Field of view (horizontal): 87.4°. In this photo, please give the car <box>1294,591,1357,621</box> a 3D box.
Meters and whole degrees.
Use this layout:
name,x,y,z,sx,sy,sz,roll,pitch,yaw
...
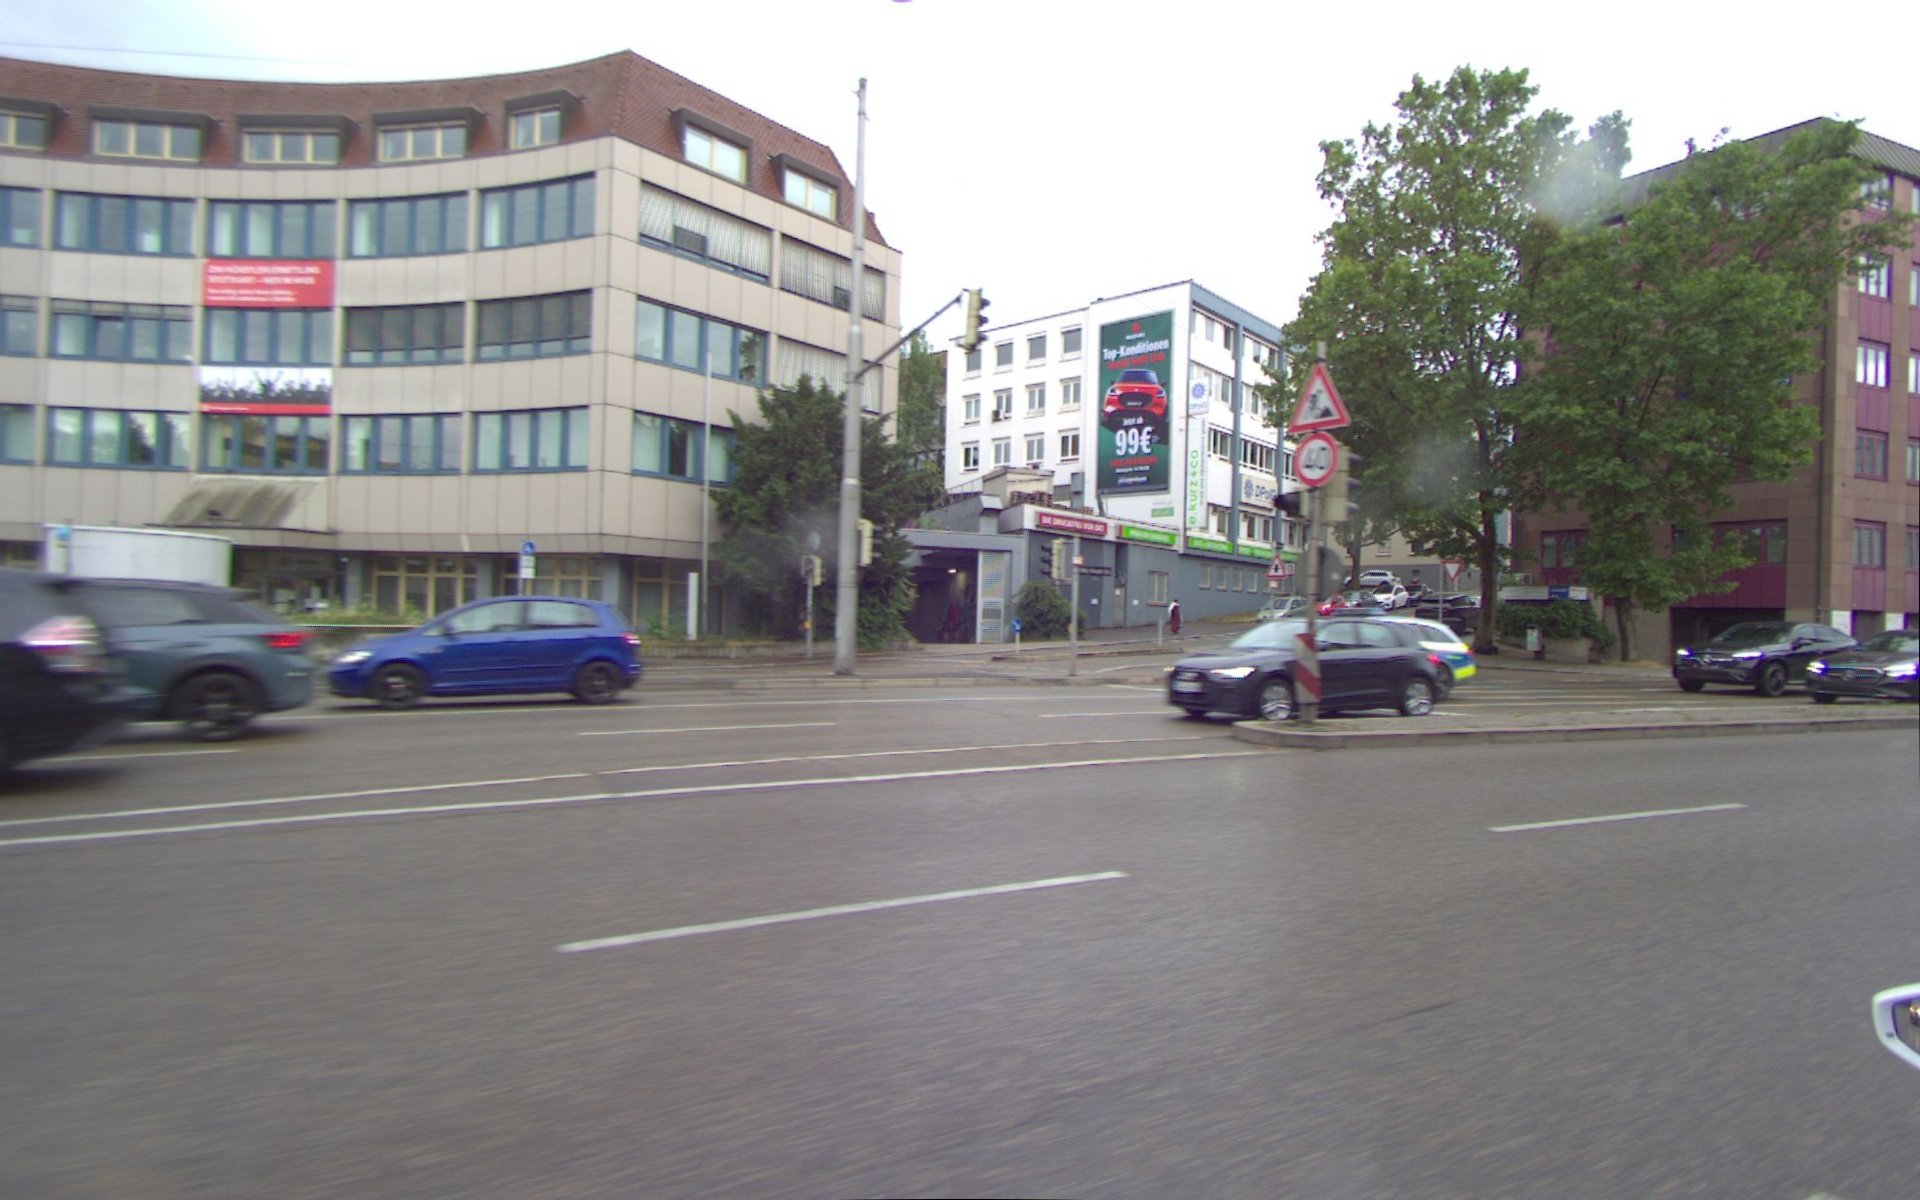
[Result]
name,x,y,z,sx,sy,sz,roll,pitch,yaw
car,20.471,0.327,56.190,1.814,1.450,4.043,0,3,44

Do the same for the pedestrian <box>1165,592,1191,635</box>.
name,x,y,z,sx,sy,sz,roll,pitch,yaw
pedestrian,10.503,0.673,48.475,0.829,2.040,0.976,0,-1,42

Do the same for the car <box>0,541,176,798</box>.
name,x,y,z,sx,sy,sz,roll,pitch,yaw
car,-7.954,0.418,6.334,4.544,1.644,1.843,2,-2,-33

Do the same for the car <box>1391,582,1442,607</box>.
name,x,y,z,sx,sy,sz,roll,pitch,yaw
car,30.224,-0.376,66.464,1.814,1.450,4.043,0,2,45

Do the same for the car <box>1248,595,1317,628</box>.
name,x,y,z,sx,sy,sz,roll,pitch,yaw
car,16.811,0.574,52.230,1.813,1.483,4.152,-1,3,43

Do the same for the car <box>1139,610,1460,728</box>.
name,x,y,z,sx,sy,sz,roll,pitch,yaw
car,4.669,0.916,13.817,4.024,1.435,1.763,2,-1,-22

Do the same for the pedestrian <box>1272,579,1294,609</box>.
name,x,y,z,sx,sy,sz,roll,pitch,yaw
pedestrian,18.770,-0.336,58.373,0.829,1.740,0.976,0,-2,42

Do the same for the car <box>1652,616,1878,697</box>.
name,x,y,z,sx,sy,sz,roll,pitch,yaw
car,18.411,1.266,22.972,4.867,1.699,1.989,1,-2,-23

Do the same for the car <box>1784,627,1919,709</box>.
name,x,y,z,sx,sy,sz,roll,pitch,yaw
car,18.942,1.305,19.926,4.867,1.457,1.989,1,-2,-23

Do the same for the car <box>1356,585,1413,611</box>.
name,x,y,z,sx,sy,sz,roll,pitch,yaw
car,26.670,-0.143,63.043,4.040,1.450,1.816,-4,3,-43

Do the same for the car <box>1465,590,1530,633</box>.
name,x,y,z,sx,sy,sz,roll,pitch,yaw
car,26.503,0.509,49.473,1.909,1.893,3.977,0,2,42

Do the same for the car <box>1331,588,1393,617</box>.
name,x,y,z,sx,sy,sz,roll,pitch,yaw
car,23.782,0.141,59.387,4.040,1.450,1.816,-4,3,-43

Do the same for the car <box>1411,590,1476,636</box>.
name,x,y,z,sx,sy,sz,roll,pitch,yaw
car,21.996,0.544,45.620,1.906,1.893,3.984,3,2,37

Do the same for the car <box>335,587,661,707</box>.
name,x,y,z,sx,sy,sz,roll,pitch,yaw
car,-6.633,0.675,14.616,4.073,1.532,1.754,2,-2,-30

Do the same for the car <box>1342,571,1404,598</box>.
name,x,y,z,sx,sy,sz,roll,pitch,yaw
car,34.012,-1.246,82.763,4.362,2.033,1.992,0,-2,38

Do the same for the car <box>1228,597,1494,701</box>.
name,x,y,z,sx,sy,sz,roll,pitch,yaw
car,7.270,0.886,18.195,4.524,1.704,1.763,2,-1,-22

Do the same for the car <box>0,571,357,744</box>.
name,x,y,z,sx,sy,sz,roll,pitch,yaw
car,-8.497,0.532,9.865,4.175,1.532,1.812,2,-1,-25
